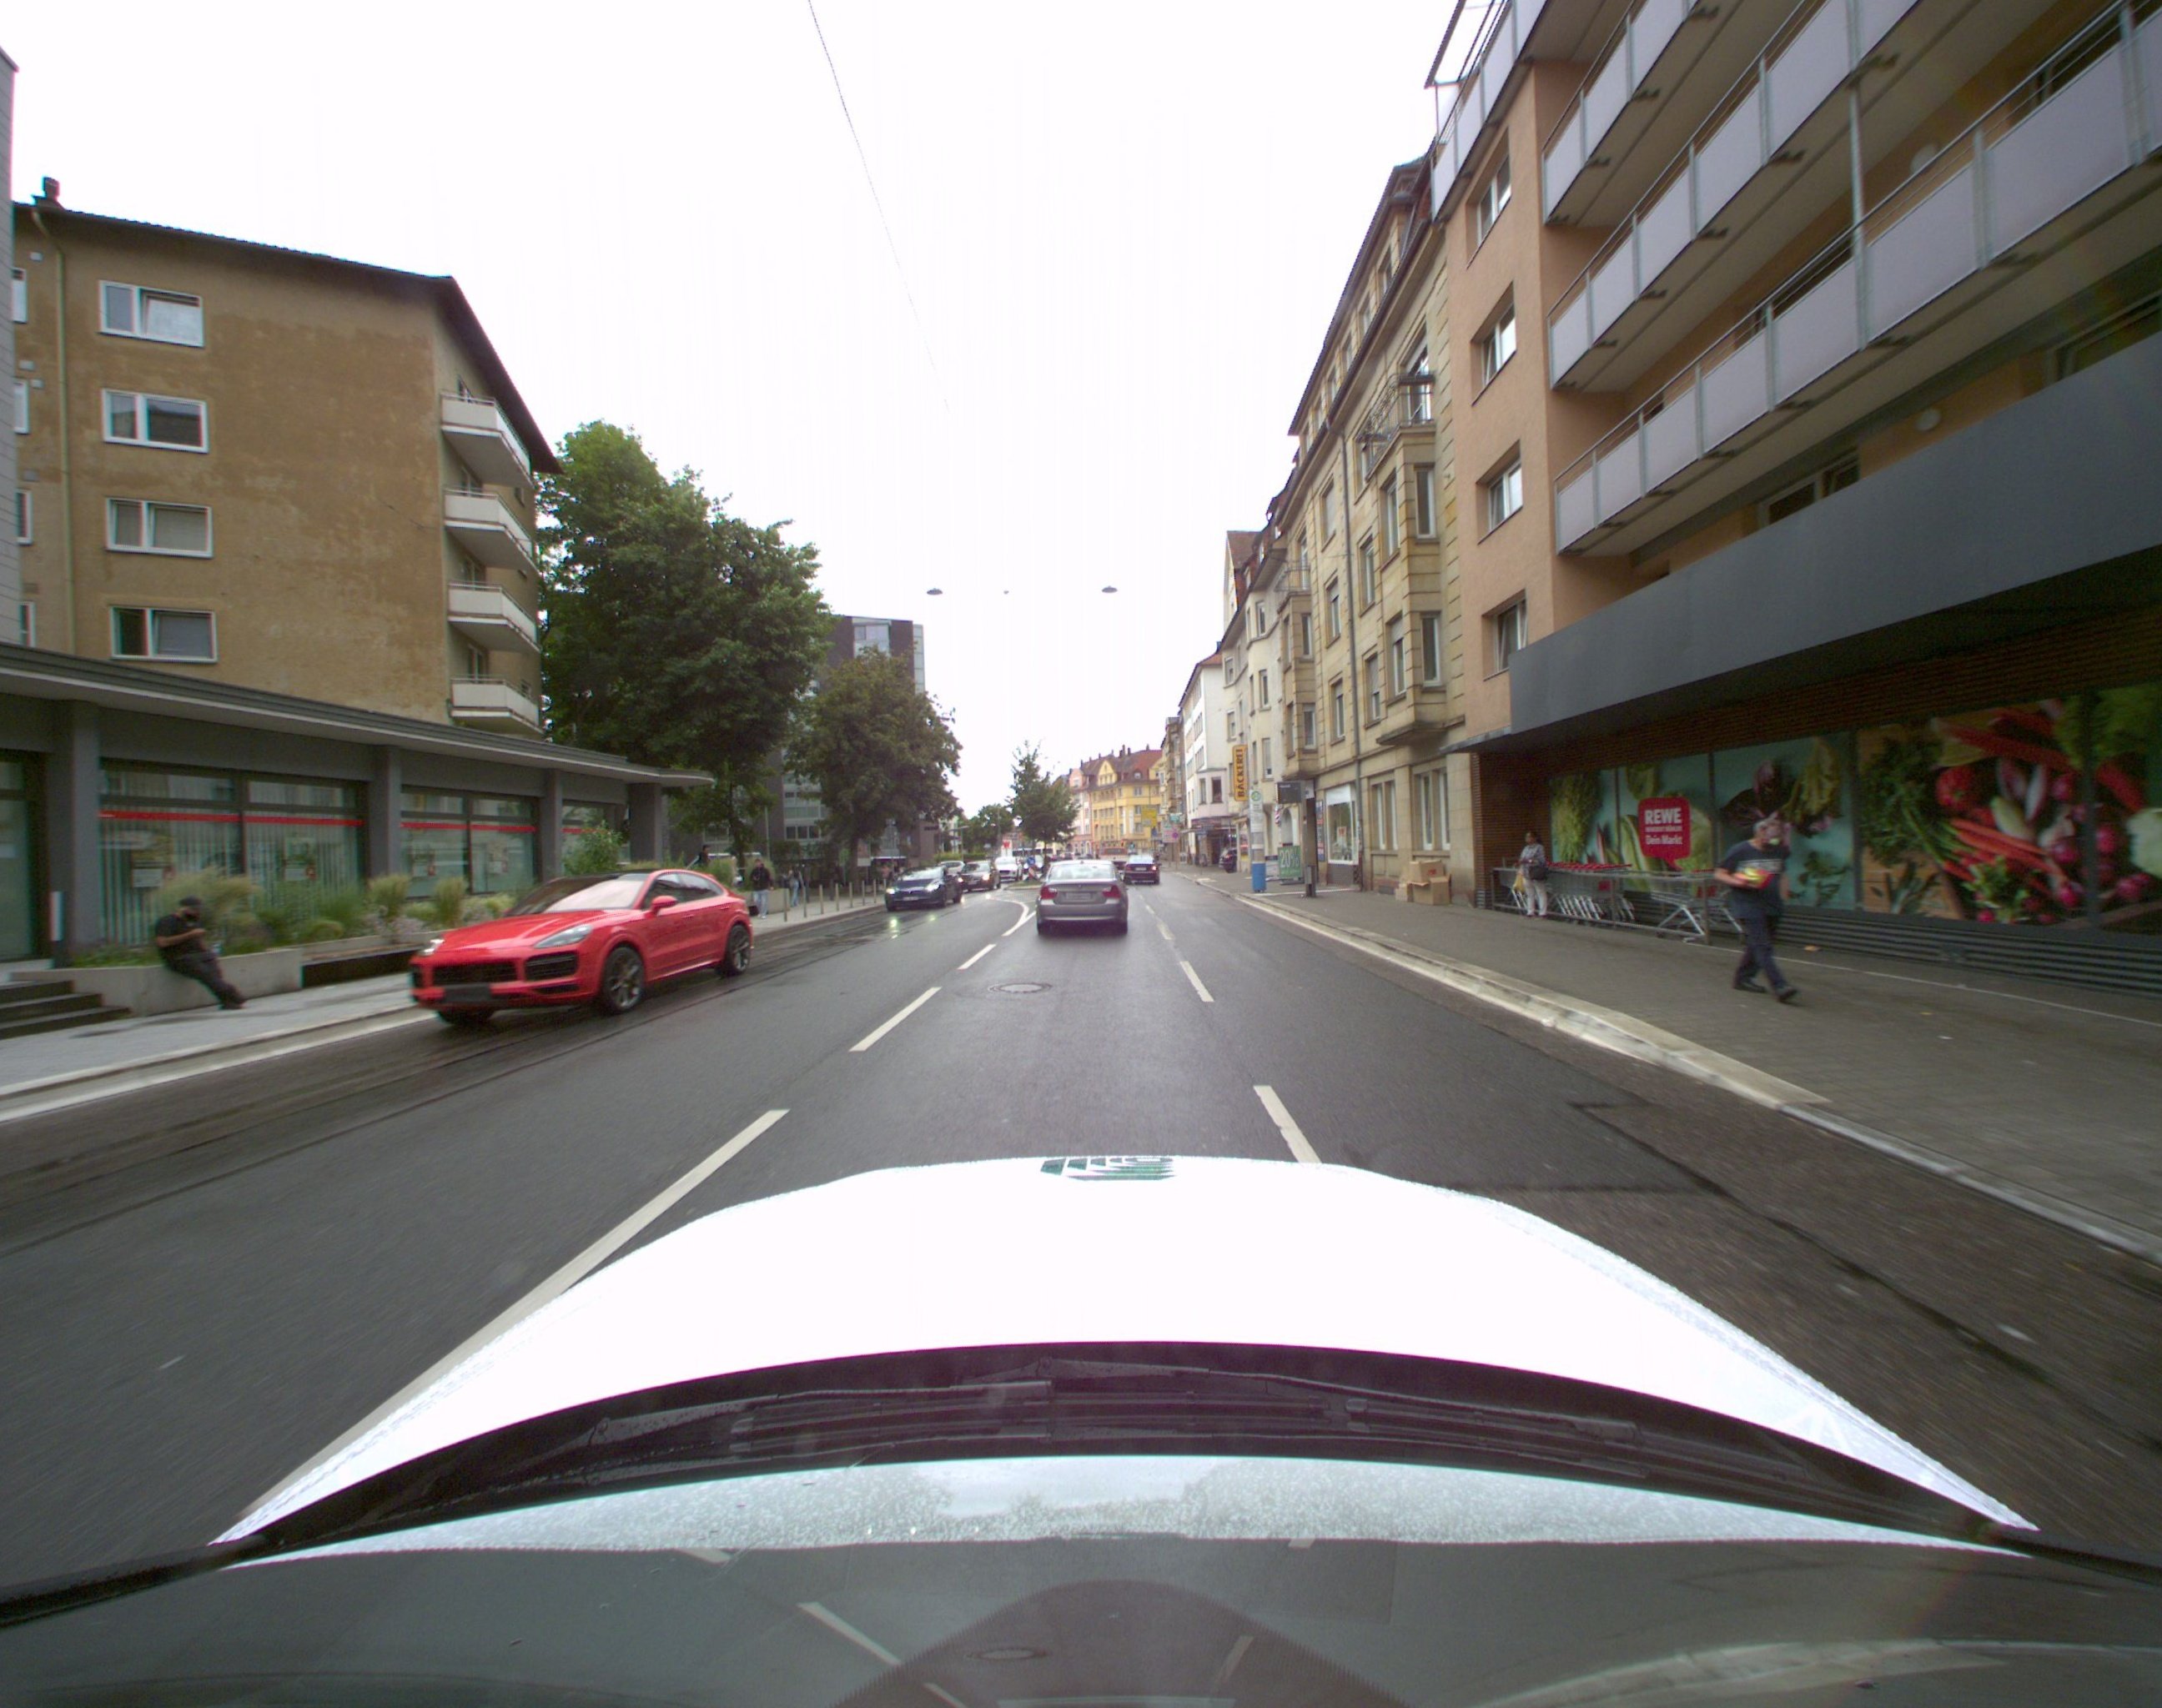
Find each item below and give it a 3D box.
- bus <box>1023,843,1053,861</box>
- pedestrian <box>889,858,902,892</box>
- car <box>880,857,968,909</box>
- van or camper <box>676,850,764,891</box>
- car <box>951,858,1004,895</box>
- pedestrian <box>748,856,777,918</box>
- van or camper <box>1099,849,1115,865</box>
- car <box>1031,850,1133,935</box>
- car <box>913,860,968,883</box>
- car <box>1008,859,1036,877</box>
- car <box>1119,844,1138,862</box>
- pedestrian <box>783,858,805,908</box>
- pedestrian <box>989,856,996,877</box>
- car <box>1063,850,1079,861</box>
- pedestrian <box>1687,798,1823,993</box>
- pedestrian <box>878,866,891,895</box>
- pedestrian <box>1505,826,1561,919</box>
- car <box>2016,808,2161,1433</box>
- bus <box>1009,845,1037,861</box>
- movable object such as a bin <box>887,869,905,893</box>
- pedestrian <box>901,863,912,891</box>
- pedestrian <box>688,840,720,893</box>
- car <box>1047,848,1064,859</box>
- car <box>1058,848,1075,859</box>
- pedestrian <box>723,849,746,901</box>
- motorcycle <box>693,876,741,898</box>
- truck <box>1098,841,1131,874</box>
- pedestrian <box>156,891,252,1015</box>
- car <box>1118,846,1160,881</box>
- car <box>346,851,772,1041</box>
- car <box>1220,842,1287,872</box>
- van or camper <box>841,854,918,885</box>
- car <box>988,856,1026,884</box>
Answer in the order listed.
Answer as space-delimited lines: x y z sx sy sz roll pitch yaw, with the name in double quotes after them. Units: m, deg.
-8.488 -0.351 159.805 2.921 3.105 9.072 -3 0 -23 "bus"
-9.313 1.045 40.938 0.496 1.673 0.552 -2 0 -2 "pedestrian"
-5.422 0.939 28.766 1.948 1.511 4.913 -4 0 1 "car"
-21.284 0.931 48.056 4.628 2.266 2.192 0 0 -27 "van or camper"
-5.092 1.070 40.514 1.949 1.557 4.243 -4 0 0 "car"
-9.639 0.984 24.635 0.723 1.826 0.718 -1 0 -17 "pedestrian"
3.516 0.387 111.071 1.849 2.146 4.141 -2 0 -1 "van or camper"
0.056 0.750 16.824 1.793 1.464 4.371 -2 -2 1 "car"
-10.409 1.244 60.318 3.601 1.569 1.724 -1 0 -31 "car"
-5.299 1.242 73.358 2.006 1.425 4.502 -2 0 2 "car"
5.531 -0.100 95.376 1.986 2.013 4.001 -2 0 1 "car"
-10.942 1.085 31.031 0.723 1.826 0.849 -1 1 -21 "pedestrian"
-7.613 1.053 70.023 0.573 1.762 0.580 -2 0 -5 "pedestrian"
-2.002 0.233 160.412 1.769 2.180 3.969 1 -1 -23 "car"
6.020 0.343 7.313 0.622 1.651 0.750 -2 2 4 "pedestrian"
-9.850 1.324 40.842 0.458 1.473 0.530 -2 0 -2 "pedestrian"
7.913 0.320 14.271 0.562 1.572 0.624 -2 0 -14 "pedestrian"
3.459 0.672 0.324 1.723 1.547 3.984 0 1 2 "car"
-11.982 -0.247 168.093 2.921 3.105 8.804 -3 0 -23 "bus"
-9.147 1.317 40.265 0.701 1.134 0.965 -1 0 -1 "movable object such as a bin"
-8.763 1.150 40.894 0.432 1.410 0.481 -2 0 -2 "pedestrian"
-13.560 0.452 29.339 0.860 1.844 0.691 -2 0 -13 "pedestrian"
-4.732 -0.021 152.754 2.000 2.013 3.974 -2 0 -19 "car"
-2.611 -0.062 146.943 2.000 2.013 3.974 -2 0 -19 "car"
-12.222 0.732 28.714 0.657 1.759 0.716 -2 0 -22 "pedestrian"
-17.278 1.569 38.700 2.036 0.987 0.800 1 1 17 "motorcycle"
2.378 0.227 57.942 2.216 2.249 5.065 -1 0 2 "truck"
-10.861 1.190 10.090 0.584 1.420 0.730 -2 0 36 "pedestrian"
2.775 0.472 39.704 1.793 1.563 4.000 -2 -1 1 "car"
-6.188 0.946 10.670 2.098 1.764 5.062 -4 -1 2 "car"
11.169 0.196 52.912 4.114 1.772 1.878 -2 0 8 "car"
-14.390 1.071 58.168 4.979 2.013 1.982 -1 0 -28 "van or camper"
-4.580 0.976 50.869 1.813 1.569 4.090 -3 0 1 "car"
